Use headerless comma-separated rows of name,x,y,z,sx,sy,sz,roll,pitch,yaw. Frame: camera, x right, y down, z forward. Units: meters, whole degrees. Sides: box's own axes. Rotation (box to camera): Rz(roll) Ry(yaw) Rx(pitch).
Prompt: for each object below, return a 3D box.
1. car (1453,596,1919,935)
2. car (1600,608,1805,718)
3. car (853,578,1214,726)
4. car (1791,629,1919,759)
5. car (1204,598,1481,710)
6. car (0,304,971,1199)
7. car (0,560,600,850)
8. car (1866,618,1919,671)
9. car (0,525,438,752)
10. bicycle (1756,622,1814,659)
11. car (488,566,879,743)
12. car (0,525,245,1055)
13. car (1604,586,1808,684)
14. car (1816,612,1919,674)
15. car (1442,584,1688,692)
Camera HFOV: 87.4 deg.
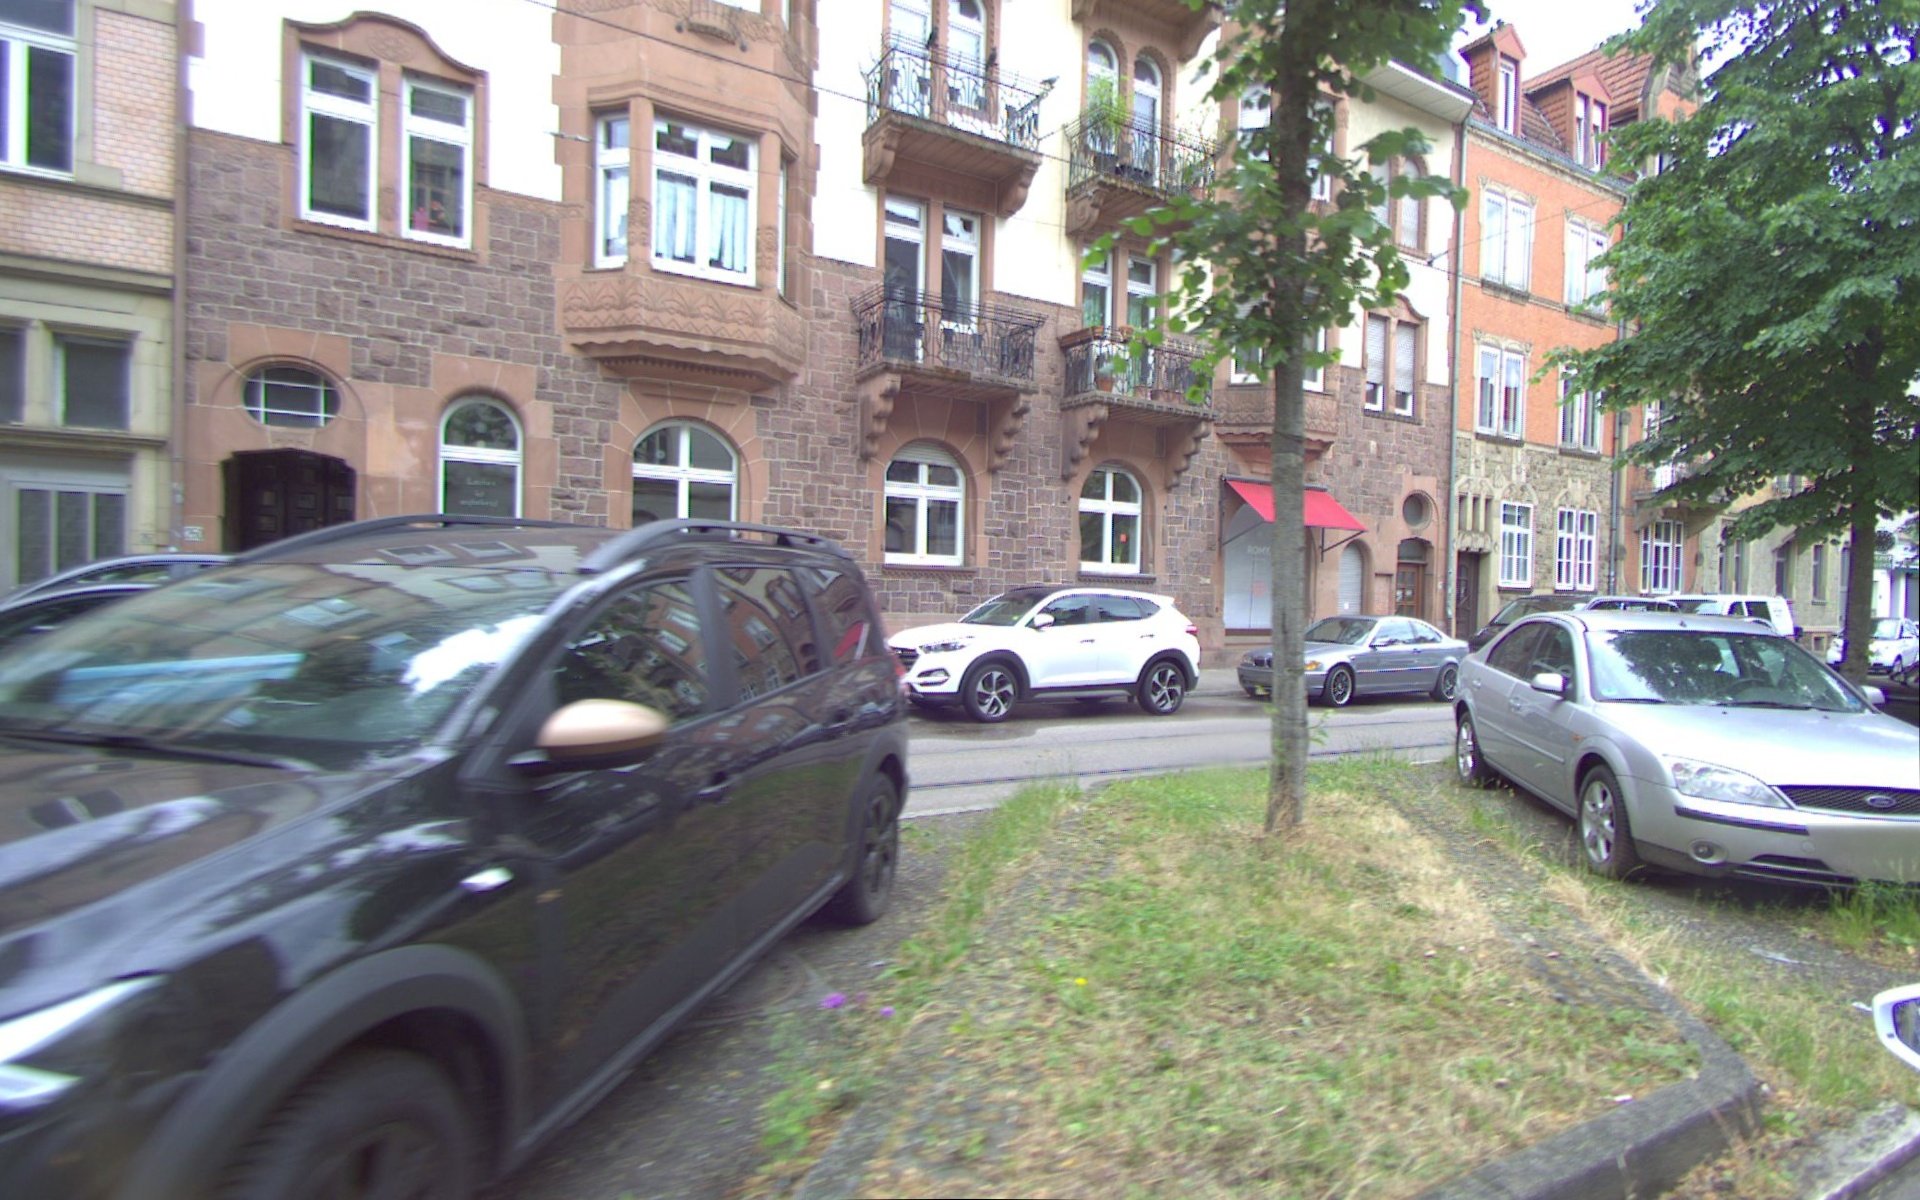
car,4.703,0.696,6.408,1.722,1.386,4.670,2,1,13
car,11.683,0.935,15.803,2.859,1.535,1.596,2,0,-31
car,1.029,0.617,13.062,4.502,1.648,1.731,2,0,-31
car,10.477,0.998,10.125,1.634,1.218,3.964,2,1,14
car,6.204,0.817,16.126,4.502,1.562,1.731,2,0,-31
car,-1.357,0.510,3.063,1.729,1.655,4.535,2,0,14
car,-4.803,0.533,6.193,4.599,1.472,1.795,2,0,-31
car,28.699,1.311,29.844,3.879,1.462,1.626,1,1,-32
car,-6.835,0.281,8.414,4.271,1.650,1.759,2,0,-31
bicycle,25.825,1.263,31.442,2.235,1.087,0.707,1,1,-32
car,-2.886,0.517,10.655,3.680,1.580,1.653,2,0,-31
car,-4.058,0.507,1.587,1.995,1.510,4.544,2,0,14
car,16.732,0.754,22.459,5.035,1.978,1.871,2,0,-31
car,25.164,1.157,27.615,2.918,1.571,1.626,1,1,-32
car,11.533,0.688,19.035,5.059,1.805,1.804,2,0,-31
